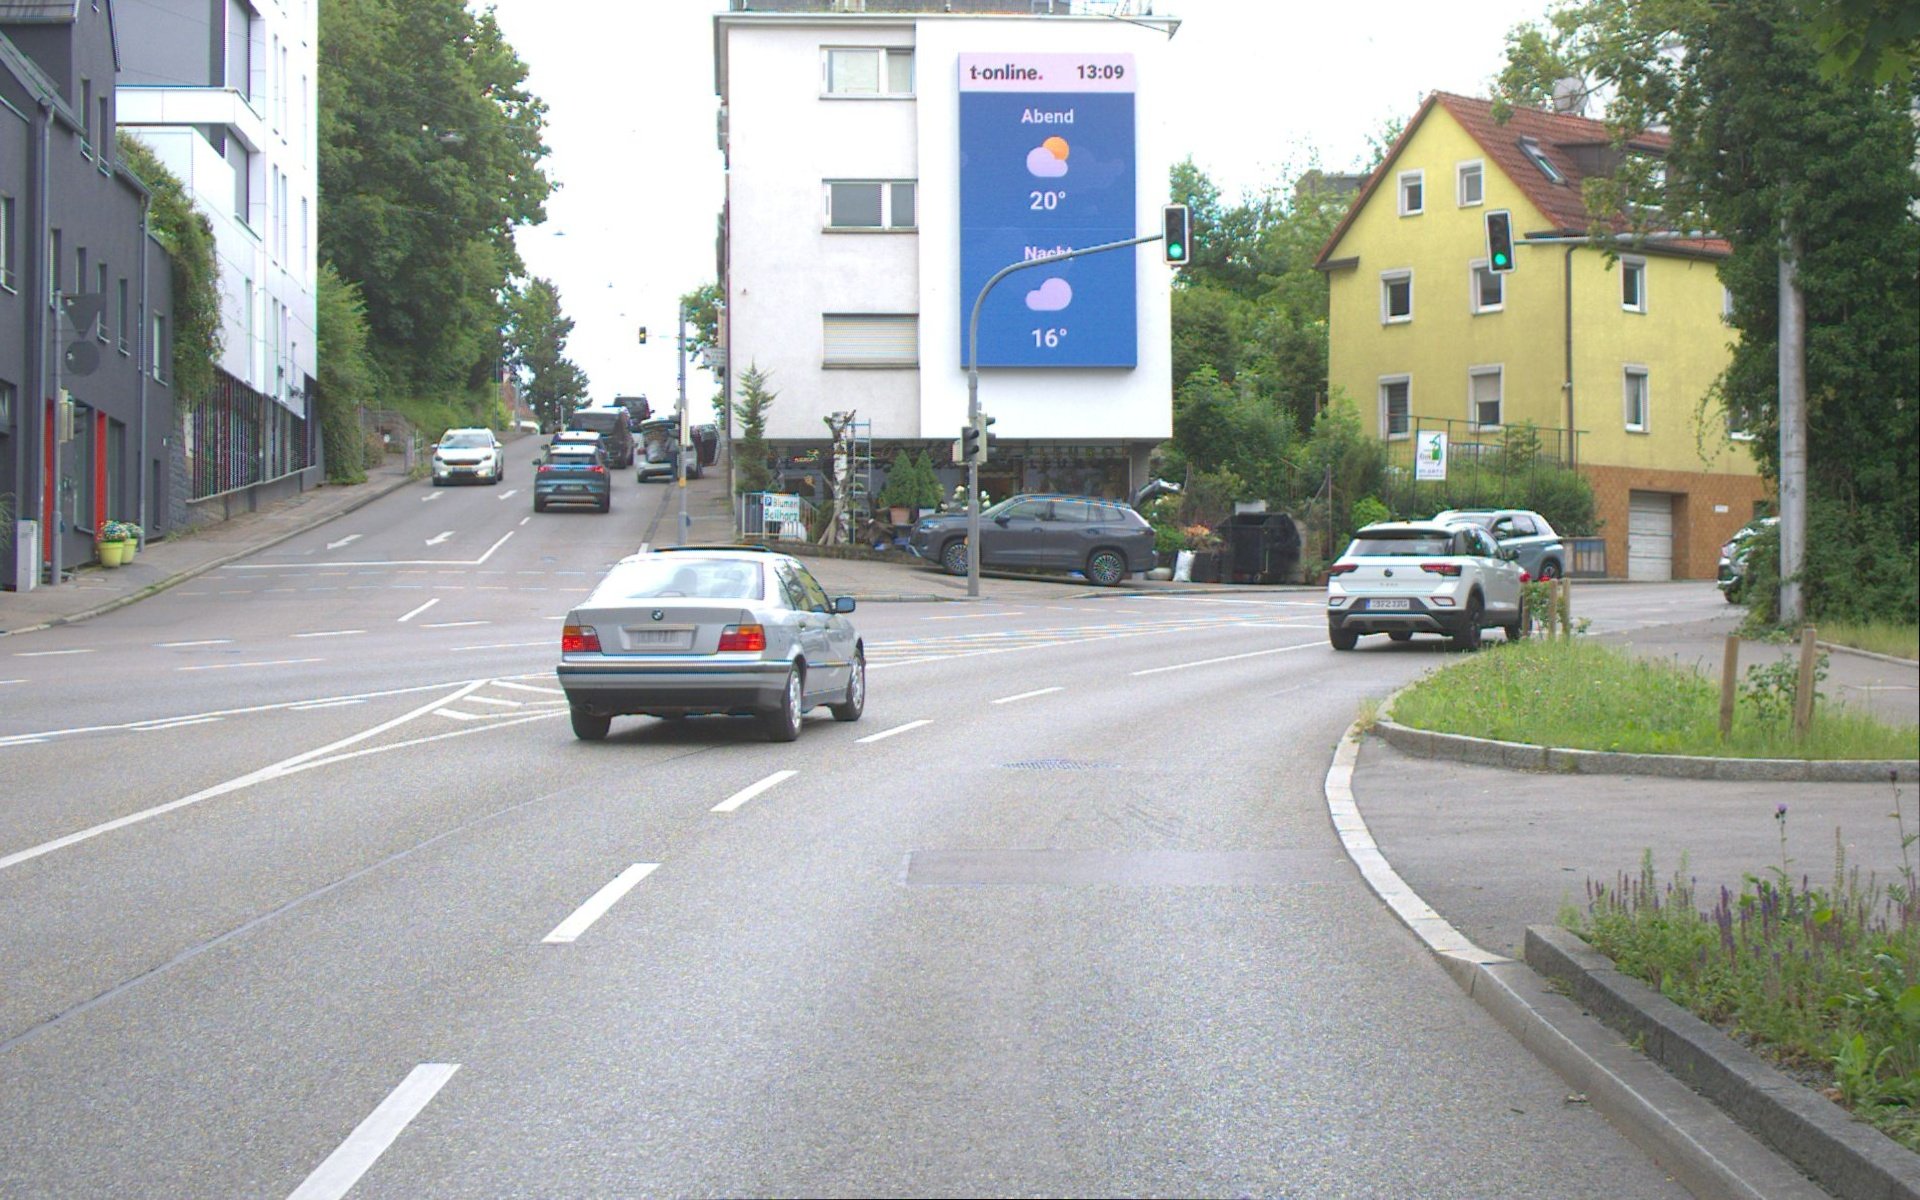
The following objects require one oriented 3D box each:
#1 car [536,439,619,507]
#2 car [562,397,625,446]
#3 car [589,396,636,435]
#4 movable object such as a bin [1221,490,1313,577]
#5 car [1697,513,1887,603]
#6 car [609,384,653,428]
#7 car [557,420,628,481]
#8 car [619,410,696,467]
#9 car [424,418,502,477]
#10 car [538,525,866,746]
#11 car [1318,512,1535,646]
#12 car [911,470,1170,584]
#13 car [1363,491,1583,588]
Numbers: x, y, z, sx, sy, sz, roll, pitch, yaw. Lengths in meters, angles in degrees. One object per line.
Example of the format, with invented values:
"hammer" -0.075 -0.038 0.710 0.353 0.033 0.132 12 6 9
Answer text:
"car" -9.244 -3.061 83.262 1.779 1.573 4.001 1 2 -4
"car" -11.719 -5.692 110.110 1.794 1.460 4.001 1 2 -4
"car" -14.269 -7.597 141.414 1.779 1.573 4.001 0 3 -4
"movable object such as a bin" 6.372 -1.389 71.322 1.763 1.773 1.854 0 1 10
"car" 13.785 -0.716 56.819 1.783 1.405 3.992 2 2 33
"car" -15.955 -9.377 166.706 1.993 2.006 4.001 1 2 -4
"car" -10.149 -4.148 95.189 1.779 1.573 4.001 1 4 -4
"car" -8.848 -4.714 100.765 2.089 1.607 4.001 0 2 -3
"car" -14.208 -4.385 98.438 1.882 1.562 4.391 -1 4 -4
"car" -1.845 0.200 25.800 1.707 1.459 3.999 1 2 7
"car" 5.826 -0.299 42.608 1.782 1.573 3.996 1 2 21
"car" 1.500 -1.423 66.126 4.687 1.706 2.319 4 4 -4
"car" 9.236 -1.087 61.684 1.900 1.689 4.337 1 1 40
